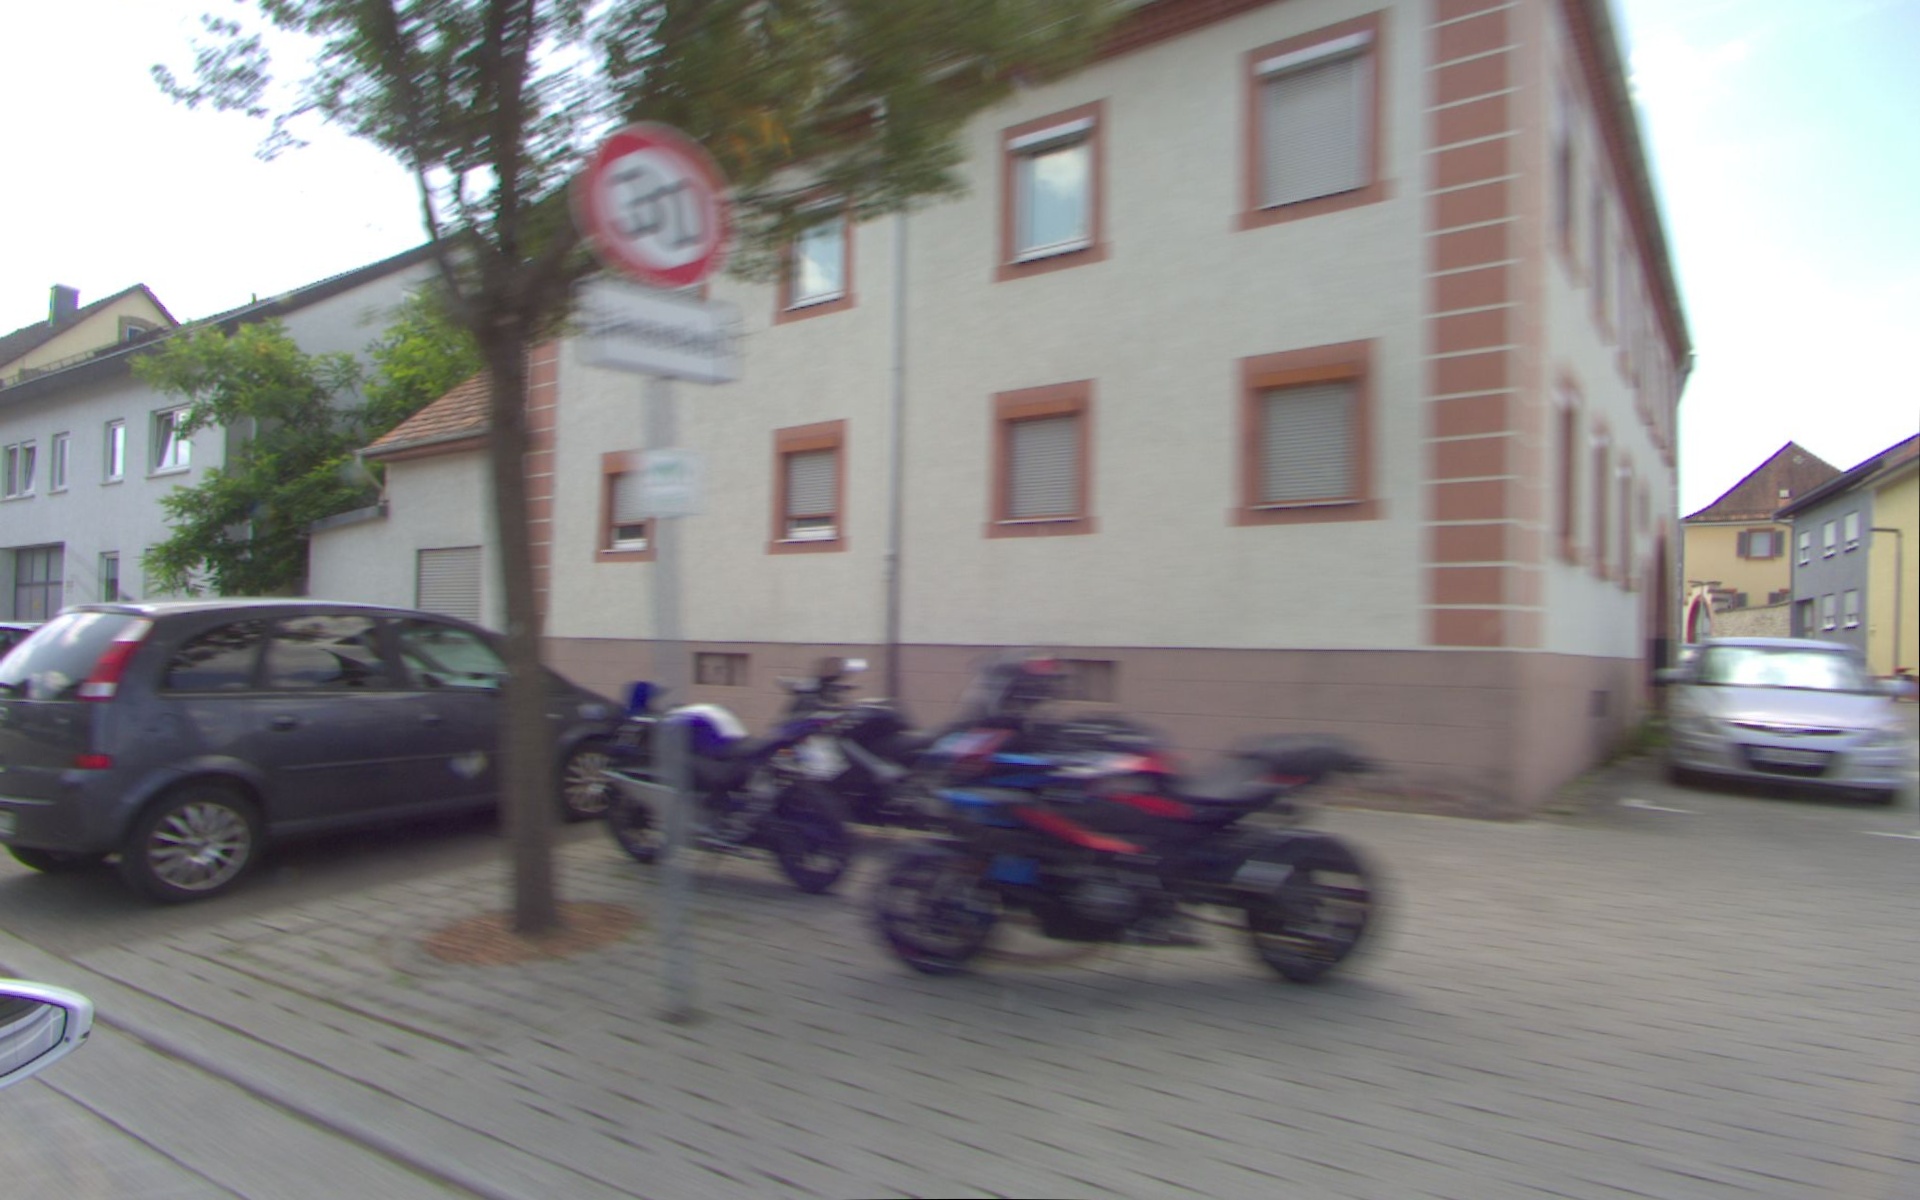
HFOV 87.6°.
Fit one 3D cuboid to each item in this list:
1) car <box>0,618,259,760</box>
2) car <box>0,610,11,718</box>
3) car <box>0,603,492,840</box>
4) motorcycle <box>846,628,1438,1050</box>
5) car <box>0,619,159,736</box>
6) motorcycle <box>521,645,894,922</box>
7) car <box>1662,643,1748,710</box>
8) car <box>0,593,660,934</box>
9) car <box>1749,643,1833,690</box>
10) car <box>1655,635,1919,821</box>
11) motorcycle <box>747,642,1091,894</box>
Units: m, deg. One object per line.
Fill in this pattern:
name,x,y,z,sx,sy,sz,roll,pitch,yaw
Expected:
car,-10.686,1.013,12.393,1.842,1.524,2.788,1,-2,9
car,-16.710,0.949,15.675,4.210,1.645,1.660,0,-2,32
car,-6.067,0.907,8.685,1.696,1.597,3.382,0,-2,21
motorcycle,0.698,0.843,4.058,2.185,1.412,0.872,1,-1,-14
car,-13.364,1.027,13.873,1.791,1.524,3.238,1,-2,4
motorcycle,-1.456,0.923,5.633,2.148,1.315,0.628,-1,-1,27
car,20.608,2.067,27.815,1.584,1.640,3.656,2,-1,32
car,-4.135,0.798,6.829,1.822,1.598,3.844,0,-1,29
car,31.025,2.455,37.492,1.972,1.641,3.523,-1,-2,33
car,8.350,1.143,10.288,1.802,1.492,3.980,0,-2,38
motorcycle,-0.327,0.961,6.535,2.200,1.315,0.955,-1,-1,41
